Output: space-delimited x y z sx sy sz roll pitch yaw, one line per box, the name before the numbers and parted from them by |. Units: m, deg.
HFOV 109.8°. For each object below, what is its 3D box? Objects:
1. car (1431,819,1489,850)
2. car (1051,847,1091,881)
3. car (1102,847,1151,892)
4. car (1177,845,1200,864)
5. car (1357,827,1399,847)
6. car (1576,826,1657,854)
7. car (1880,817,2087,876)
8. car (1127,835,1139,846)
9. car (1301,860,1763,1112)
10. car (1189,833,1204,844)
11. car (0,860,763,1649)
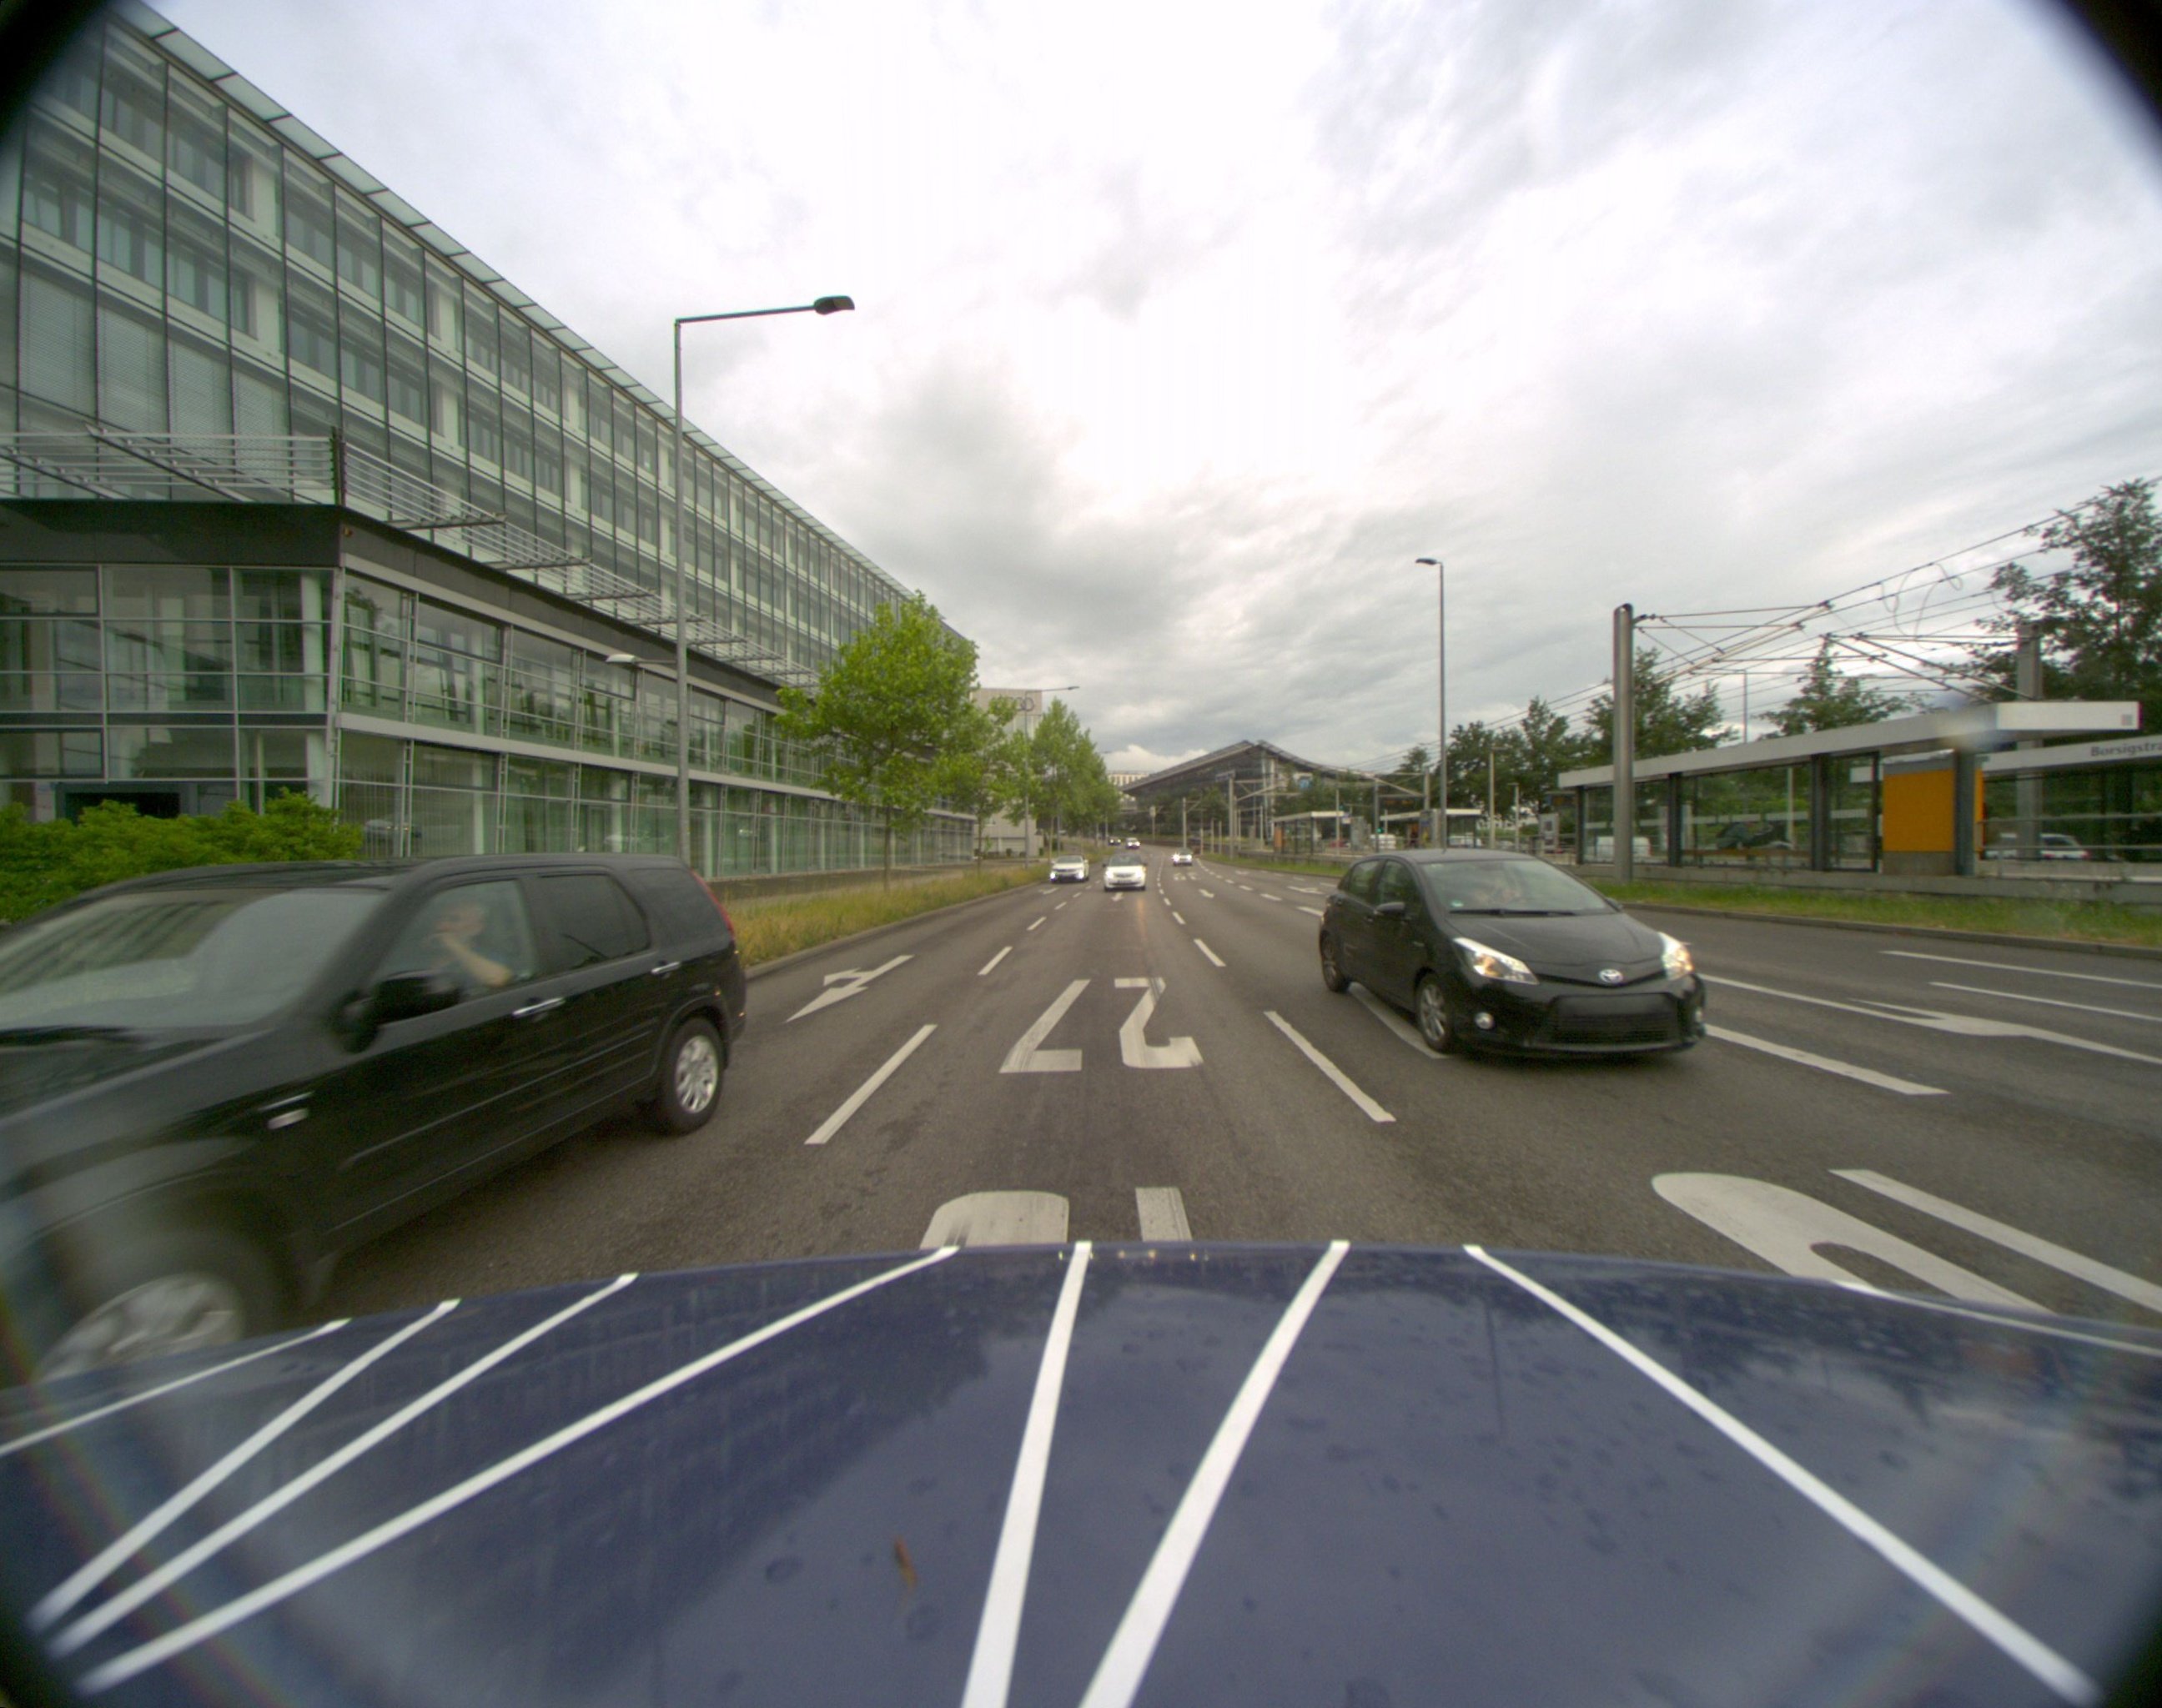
car | 29.186 -1.506 58.700 1.998 2.202 5.143 -3 2 1
car | -0.497 0.526 41.720 1.998 1.669 3.821 -1 2 1
car | 1.853 0.611 32.025 1.805 1.713 4.000 -3 0 1
car | 9.013 -0.017 64.146 1.739 1.470 4.001 -2 1 6
car | 28.783 -1.643 73.845 1.999 1.721 5.028 -3 2 -1
car | 35.541 -0.941 50.613 2.110 1.690 4.664 -3 2 1
car | 28.570 -0.275 24.293 1.532 1.657 4.268 -3 2 0
car | 8.699 -2.212 126.878 1.829 1.701 4.153 -3 1 1
car | 3.356 0.832 6.648 1.697 1.514 3.904 -1 0 0
car | 21.895 -2.933 144.130 1.999 1.837 3.998 -3 2 -2
car | -3.193 0.930 3.035 1.770 1.620 4.325 -3 1 3
